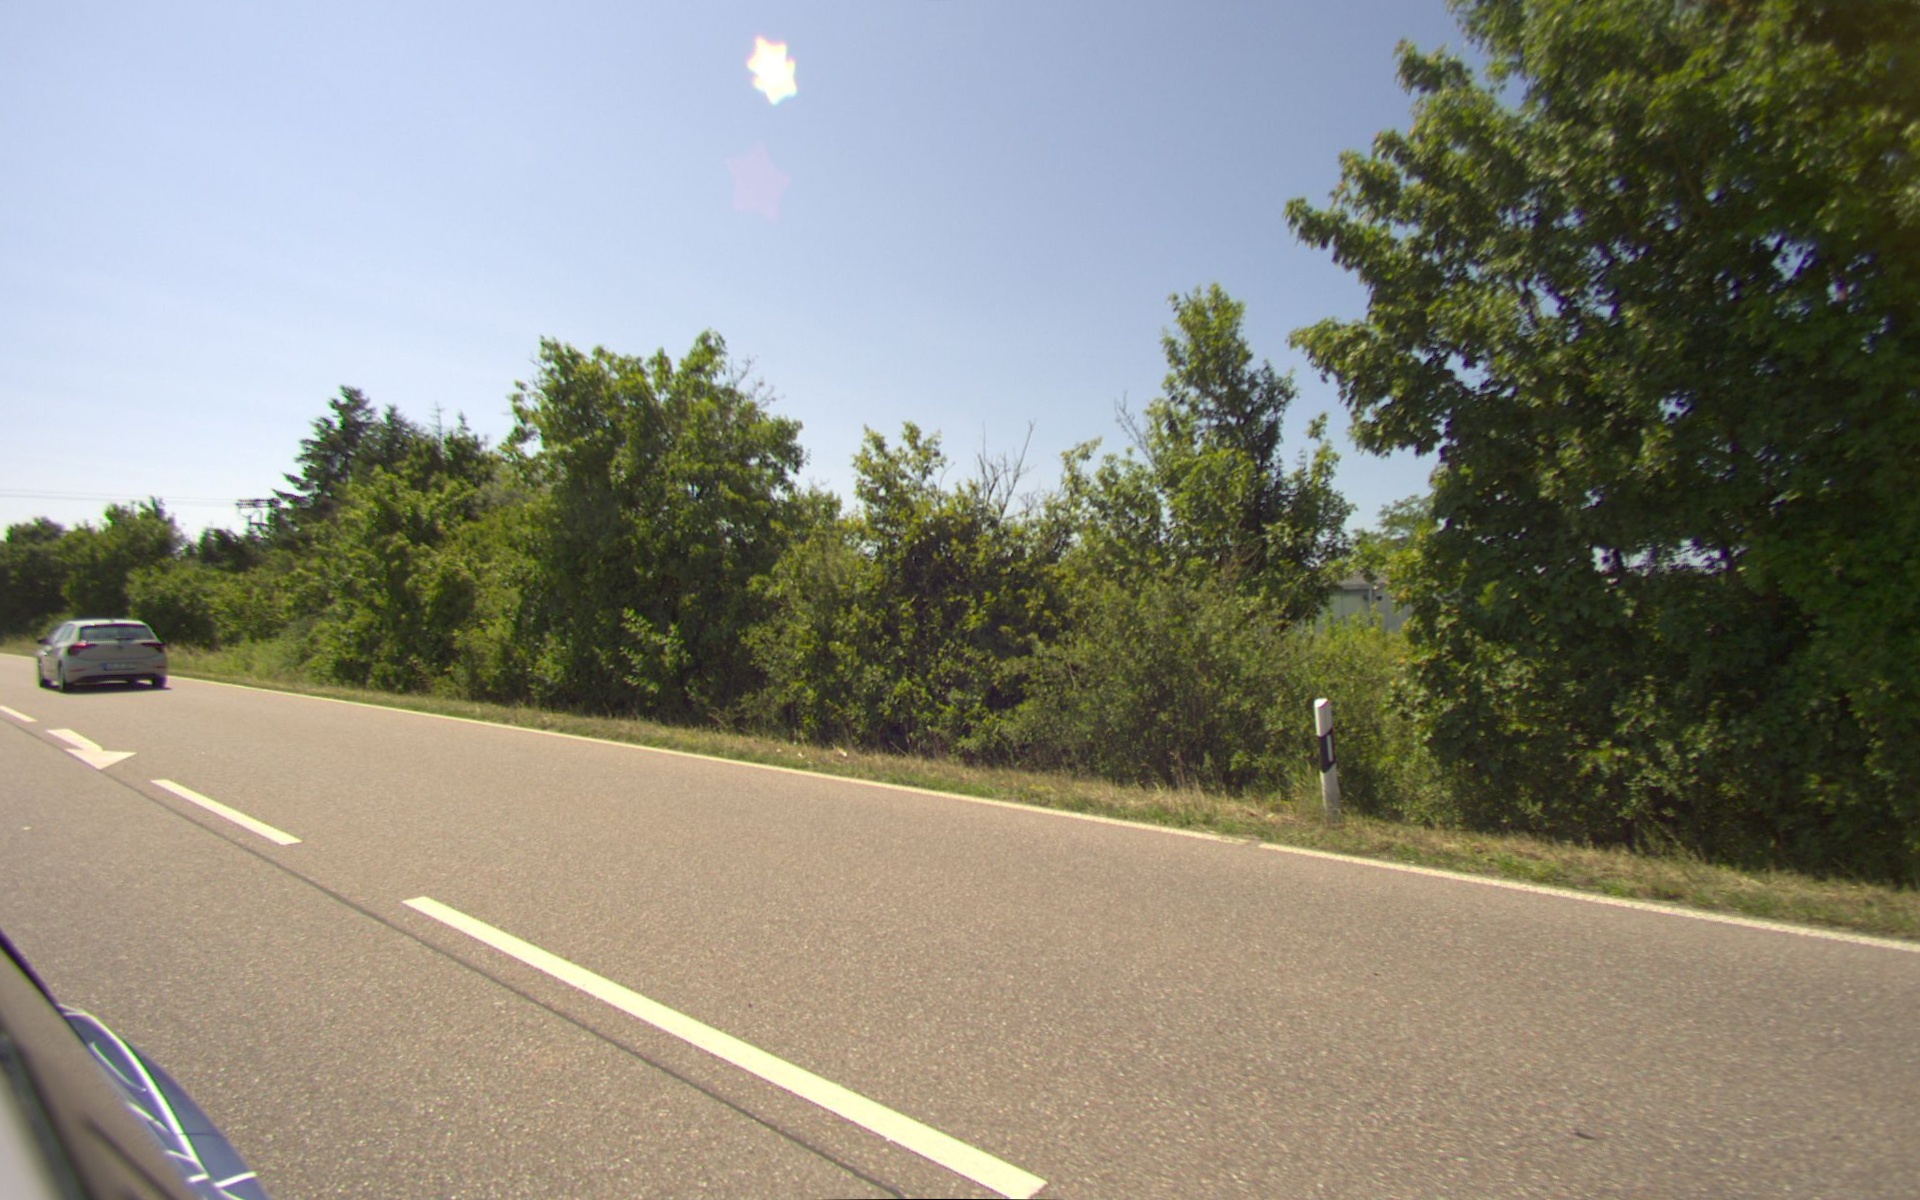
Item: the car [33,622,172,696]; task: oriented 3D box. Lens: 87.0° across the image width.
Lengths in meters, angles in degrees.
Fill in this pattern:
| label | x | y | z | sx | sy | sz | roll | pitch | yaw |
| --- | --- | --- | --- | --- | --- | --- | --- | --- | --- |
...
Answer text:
| label | x | y | z | sx | sy | sz | roll | pitch | yaw |
| --- | --- | --- | --- | --- | --- | --- | --- | --- | --- |
| car | -18.072 | 1.166 | 21.275 | 3.817 | 1.392 | 1.689 | -1 | -1 | 41 |
